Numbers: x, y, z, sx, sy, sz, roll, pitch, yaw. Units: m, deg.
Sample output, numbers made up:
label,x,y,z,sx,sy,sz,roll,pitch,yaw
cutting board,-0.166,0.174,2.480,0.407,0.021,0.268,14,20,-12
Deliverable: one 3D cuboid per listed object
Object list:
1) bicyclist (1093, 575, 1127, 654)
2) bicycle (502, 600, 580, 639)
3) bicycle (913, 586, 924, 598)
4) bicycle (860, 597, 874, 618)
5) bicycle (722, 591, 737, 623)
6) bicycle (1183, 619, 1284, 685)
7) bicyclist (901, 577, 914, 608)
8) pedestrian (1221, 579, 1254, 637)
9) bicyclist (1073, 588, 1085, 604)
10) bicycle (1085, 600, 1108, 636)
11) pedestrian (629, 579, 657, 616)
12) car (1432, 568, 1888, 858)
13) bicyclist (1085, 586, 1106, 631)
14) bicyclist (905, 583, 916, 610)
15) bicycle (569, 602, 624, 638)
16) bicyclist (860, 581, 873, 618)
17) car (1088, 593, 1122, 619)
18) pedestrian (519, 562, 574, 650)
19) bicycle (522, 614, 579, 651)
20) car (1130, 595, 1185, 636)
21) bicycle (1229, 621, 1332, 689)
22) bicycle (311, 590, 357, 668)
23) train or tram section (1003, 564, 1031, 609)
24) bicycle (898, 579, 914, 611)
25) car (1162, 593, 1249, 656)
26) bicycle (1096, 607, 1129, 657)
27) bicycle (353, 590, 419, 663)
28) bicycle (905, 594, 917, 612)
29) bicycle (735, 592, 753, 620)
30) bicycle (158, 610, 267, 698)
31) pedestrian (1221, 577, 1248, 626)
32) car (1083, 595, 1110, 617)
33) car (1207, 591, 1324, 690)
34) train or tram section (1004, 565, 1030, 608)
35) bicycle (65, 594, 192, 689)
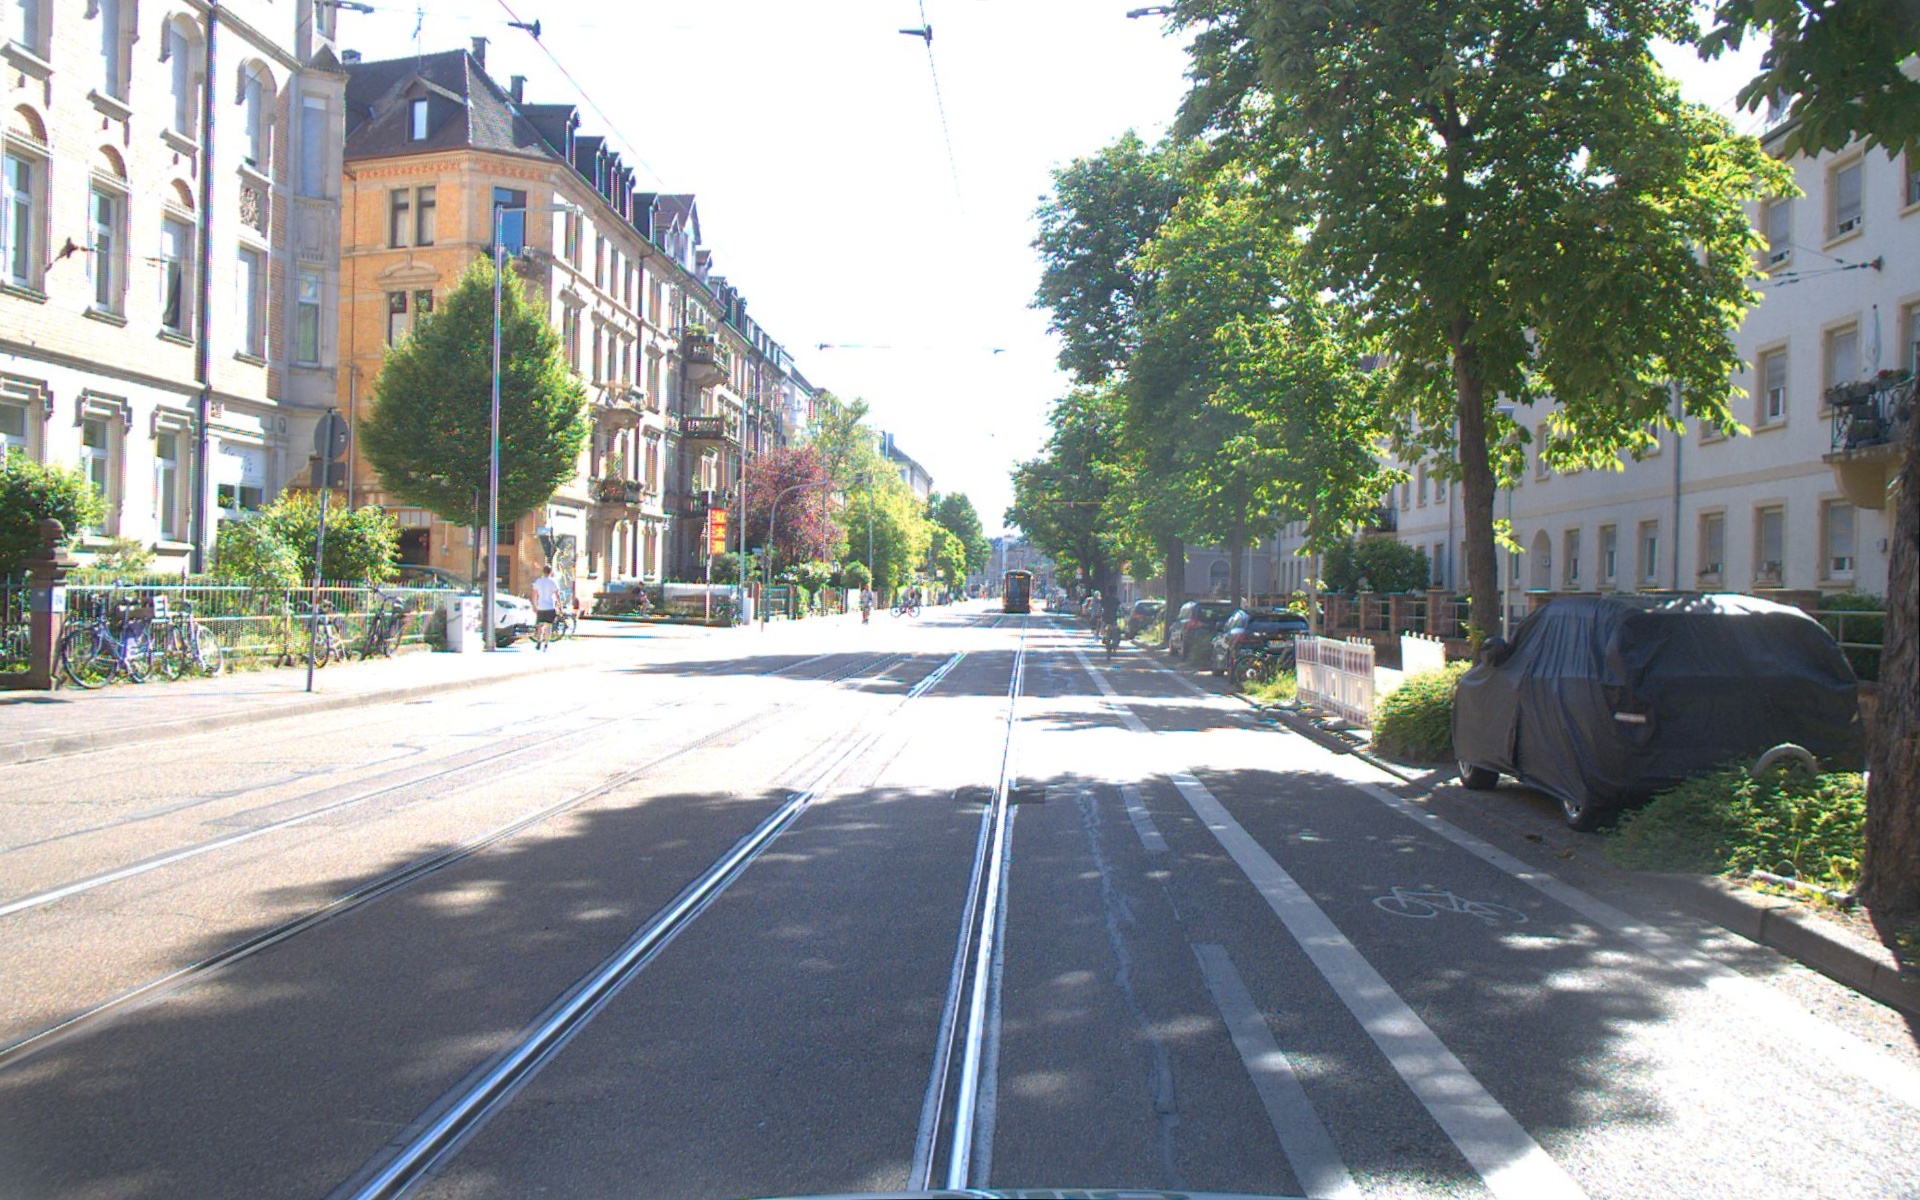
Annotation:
label,x,y,z,sx,sy,sz,roll,pitch,yaw
bicyclist,3.665,0.354,40.442,0.712,1.880,0.837,2,0,1
bicycle,-10.382,0.490,40.978,1.766,0.930,0.614,2,-1,-34
bicycle,-3.874,-0.741,153.912,0.622,1.087,1.825,2,1,-14
bicycle,-4.265,0.353,75.915,0.450,0.942,2.203,0,0,2
bicycle,-8.510,0.268,60.997,0.363,1.146,0.809,2,0,2
bicycle,4.936,0.942,29.917,1.725,1.096,0.434,3,0,3
bicyclist,-3.125,-0.474,99.147,0.632,1.827,0.956,2,0,2
pedestrian,8.816,0.248,52.541,0.592,1.801,0.905,-2,1,-28
bicyclist,10.056,-0.324,139.709,0.756,1.313,0.733,3,0,18
bicycle,4.620,0.604,56.160,0.677,1.132,1.918,2,1,2
pedestrian,-11.872,-0.099,61.886,0.882,1.376,0.577,-1,0,4
car,5.149,0.703,12.901,1.707,1.796,4.479,2,1,2
bicyclist,4.612,0.281,56.233,0.622,1.493,0.616,2,0,2
bicyclist,-3.290,-0.243,110.537,0.646,1.833,0.616,-1,0,2
bicycle,-9.785,0.540,44.522,1.279,0.930,0.614,2,-1,-34
bicyclist,-4.284,-0.023,75.852,0.454,1.647,0.745,-1,0,2
car,8.648,0.327,98.980,1.595,1.461,4.664,0,1,-1
pedestrian,-8.593,0.124,34.424,0.812,1.754,1.082,2,-1,-1
bicycle,-10.587,0.840,42.776,0.609,0.930,1.288,0,-2,40
car,7.527,0.580,63.374,1.750,1.489,4.046,1,1,2
bicycle,5.684,0.970,29.387,1.725,1.096,0.434,3,0,3
bicycle,-9.724,0.433,25.659,0.555,1.051,1.756,5,1,-22
train or tram section,4.684,-1.097,135.974,2.109,3.491,6.613,2,1,2
bicycle,-3.252,-0.312,99.150,0.649,1.891,2.261,2,1,4
car,6.313,0.598,42.881,1.684,1.499,4.247,0,1,1
bicycle,3.709,0.768,40.435,0.677,1.132,1.719,2,1,2
bicycle,-9.319,0.418,26.821,0.558,1.051,1.747,2,2,-34
bicycle,-3.282,0.192,110.714,0.677,1.132,1.719,0,0,2
bicycle,-8.186,0.211,62.692,0.328,1.018,1.870,2,1,2
bicycle,-9.849,0.688,21.843,0.551,1.051,1.768,3,1,2
pedestrian,9.923,0.055,59.744,0.749,1.754,0.578,3,0,32
car,9.659,0.408,117.419,1.712,1.445,4.001,0,1,2
car,6.021,0.750,33.020,1.631,1.791,4.232,1,1,1
train or tram section,4.930,-1.163,142.627,2.109,3.491,6.613,2,1,2
bicycle,-9.931,0.471,19.818,0.551,1.051,1.768,3,1,2
